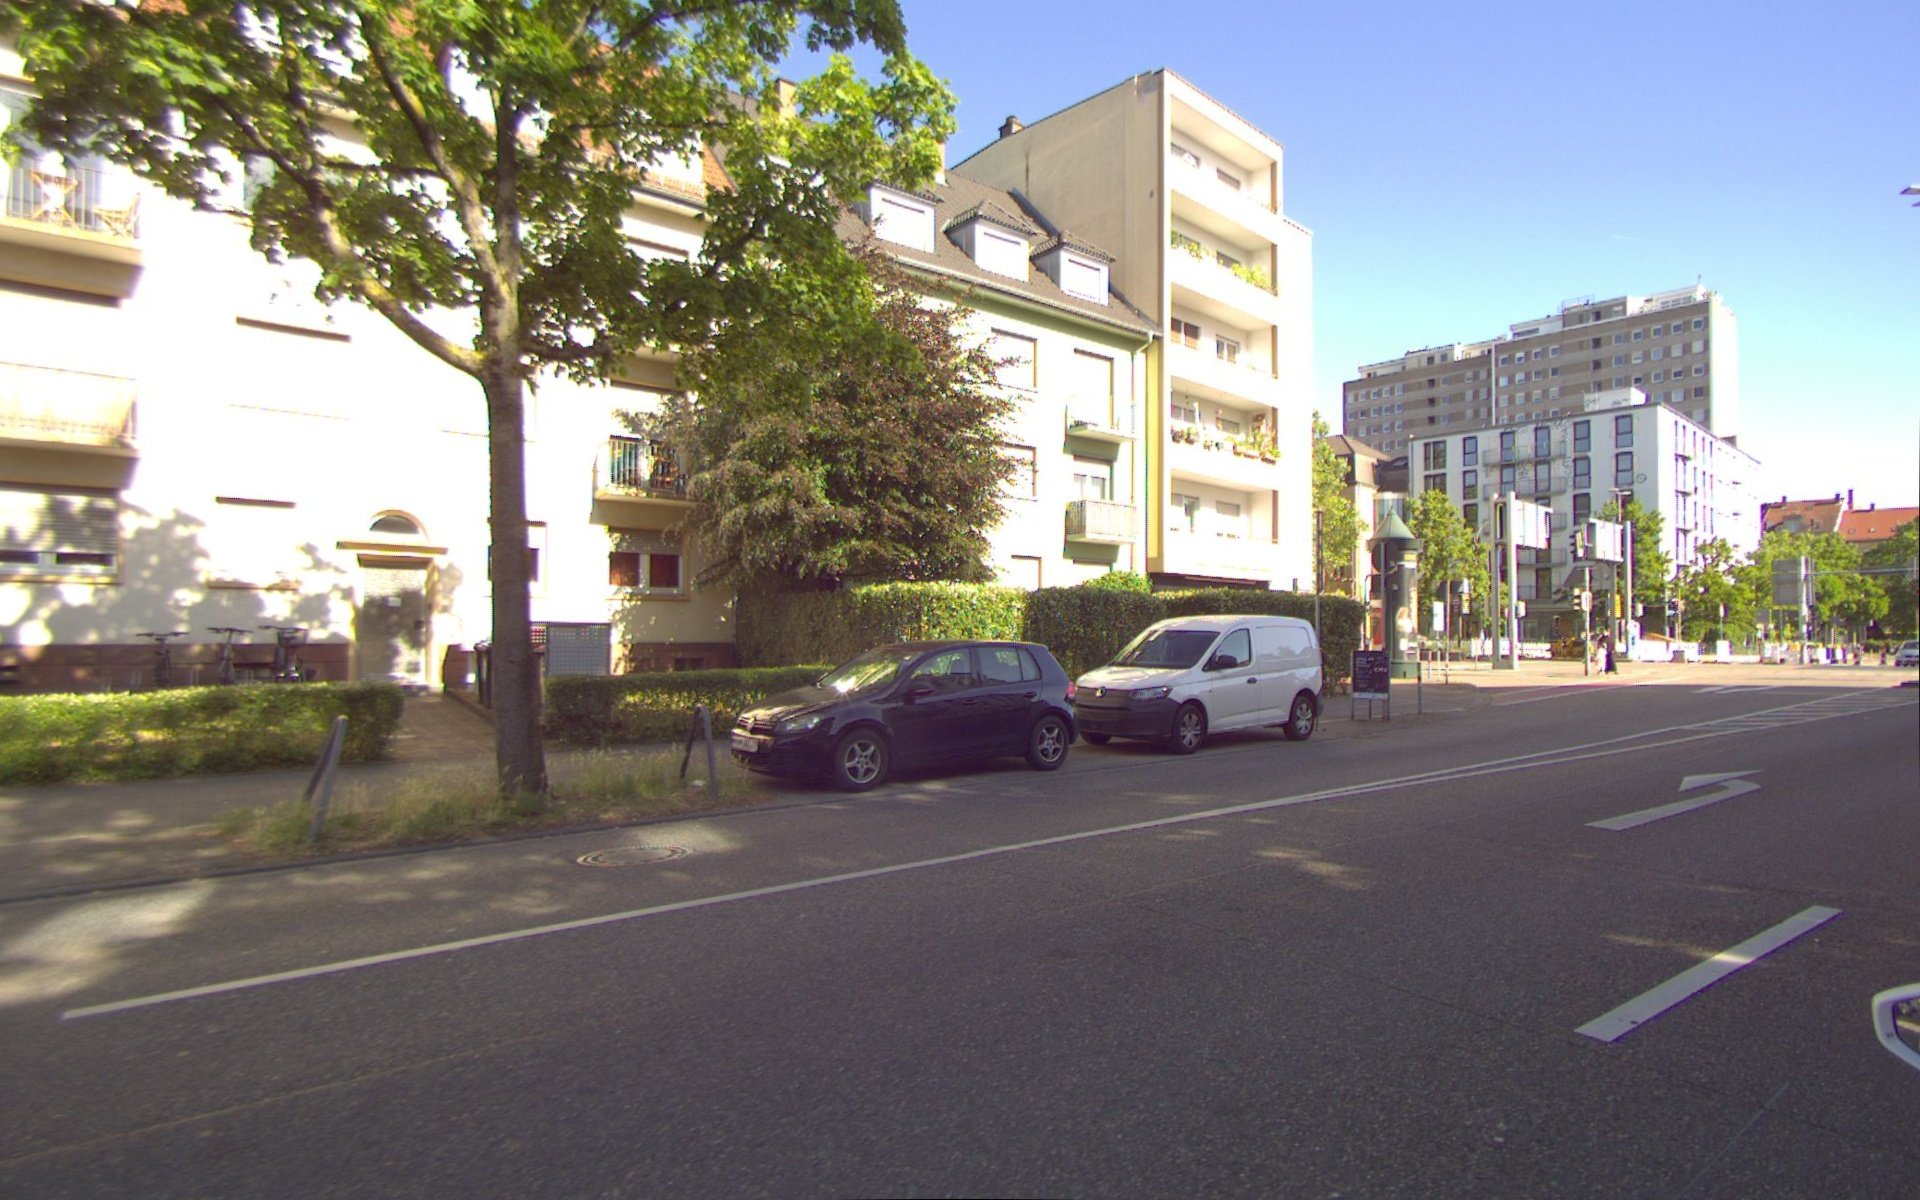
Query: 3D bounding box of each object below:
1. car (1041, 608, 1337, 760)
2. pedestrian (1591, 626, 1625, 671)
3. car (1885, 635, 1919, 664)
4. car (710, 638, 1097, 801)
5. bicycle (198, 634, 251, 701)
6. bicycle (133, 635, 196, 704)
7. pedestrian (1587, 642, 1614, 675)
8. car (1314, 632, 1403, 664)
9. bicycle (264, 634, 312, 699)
[{"bbox_3d":[3.398,1.092,14.438,4.524,1.858,1.804,2,-2,-40],"label":"car"},{"bbox_3d":[24.181,1.806,37.492,0.815,1.671,0.677,0,-2,9],"label":"pedestrian"},{"bbox_3d":[56.894,2.921,59.937,3.964,1.638,1.861,1,-2,-38],"label":"car"},{"bbox_3d":[-0.515,1.172,11.140,4.073,1.476,1.659,1,-2,-37],"label":"car"},{"bbox_3d":[-11.200,0.993,15.327,0.566,0.941,2.103,1,-2,-34],"label":"bicycle"},{"bbox_3d":[-11.755,0.994,14.886,0.566,0.942,2.103,1,-2,-34],"label":"bicycle"},{"bbox_3d":[23.388,2.130,36.687,0.650,1.181,0.676,-1,-2,20],"label":"pedestrian"},{"bbox_3d":[19.409,2.344,49.061,1.831,1.535,3.608,1,-3,-40],"label":"car"},{"bbox_3d":[-10.518,1.005,15.708,0.566,0.955,2.103,1,-2,-34],"label":"bicycle"}]
